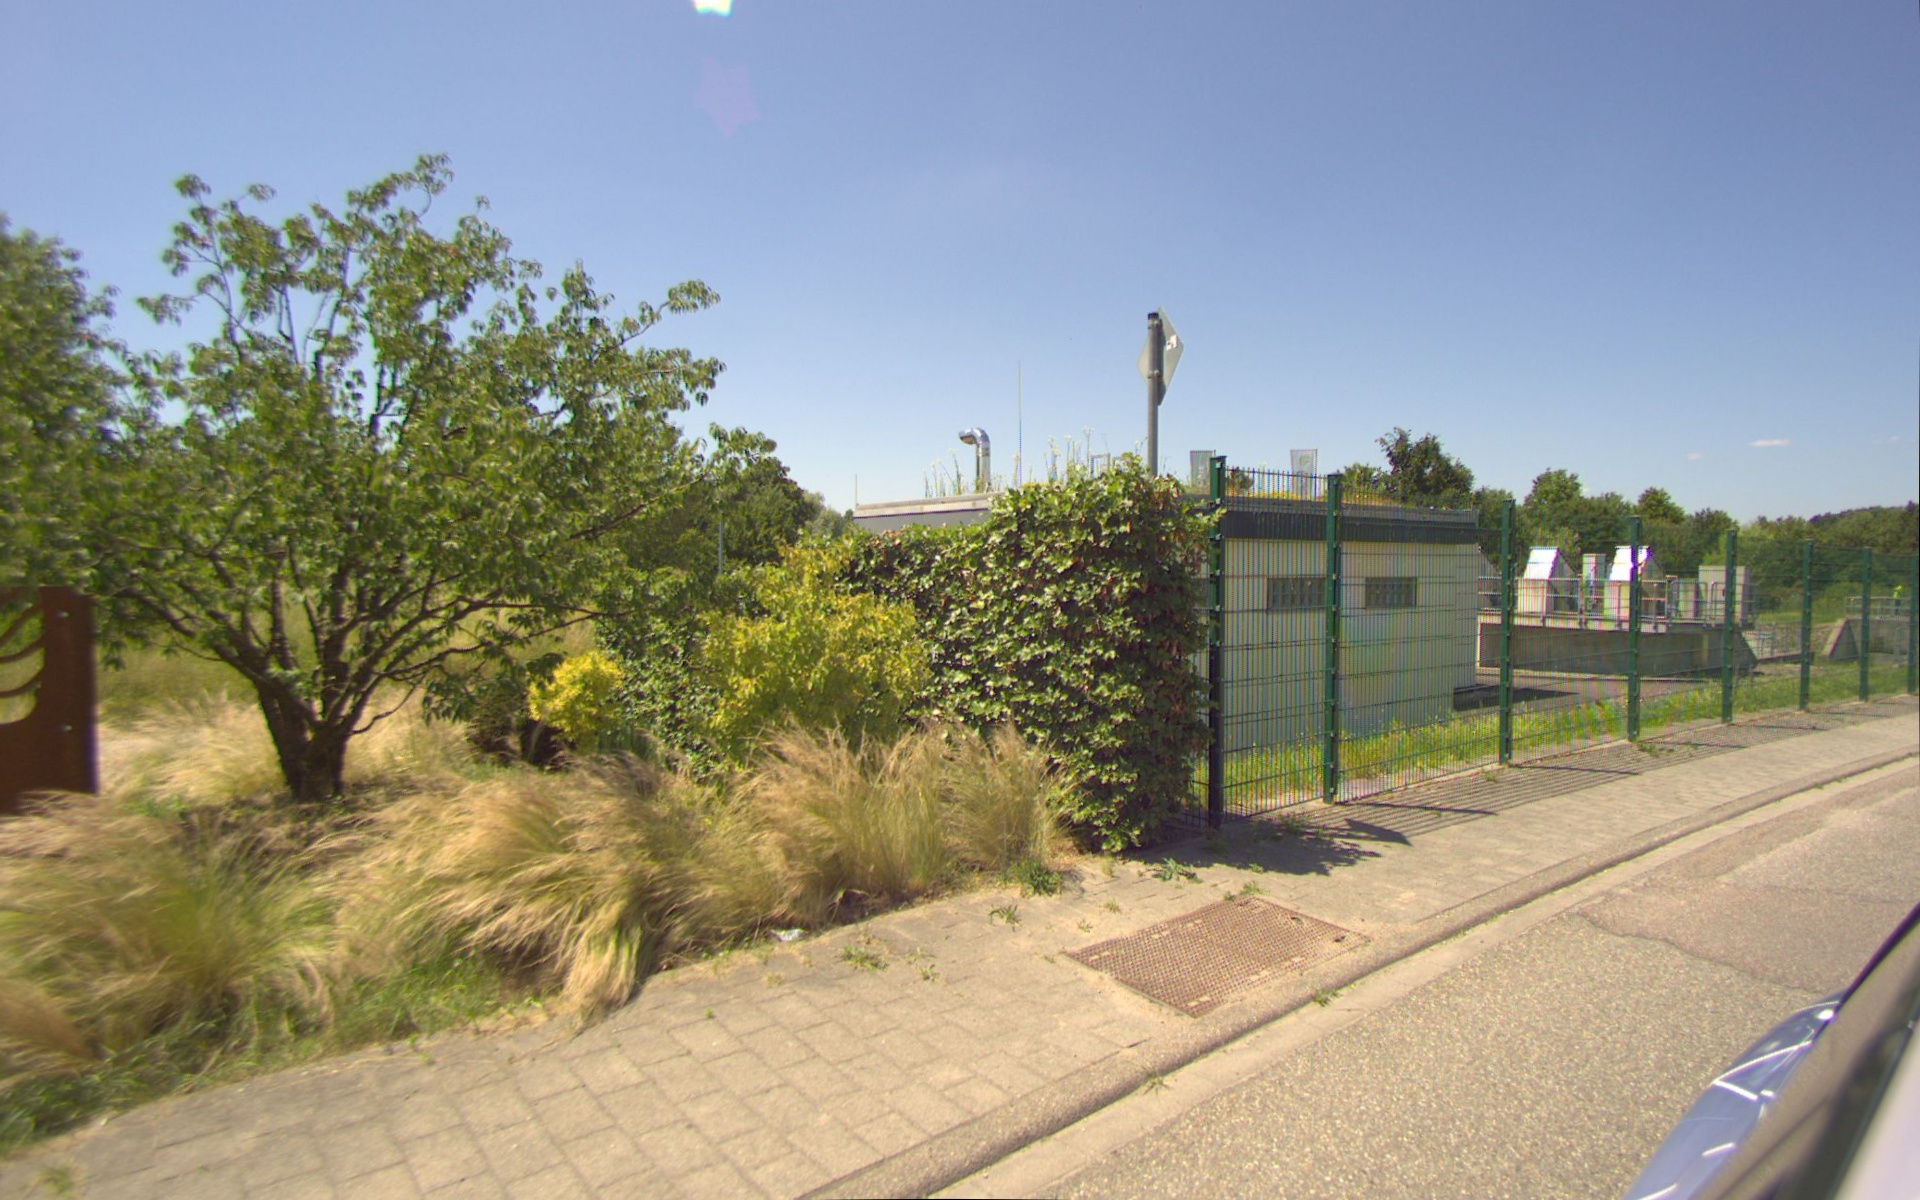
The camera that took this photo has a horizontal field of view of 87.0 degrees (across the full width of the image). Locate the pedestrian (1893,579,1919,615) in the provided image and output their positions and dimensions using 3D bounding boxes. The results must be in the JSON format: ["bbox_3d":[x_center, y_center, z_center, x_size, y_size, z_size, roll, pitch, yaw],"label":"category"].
[{"bbox_3d":[53.934,-0.153,57.395,1.193,2.039,1.305,1,-1,-35],"label":"pedestrian"}]
